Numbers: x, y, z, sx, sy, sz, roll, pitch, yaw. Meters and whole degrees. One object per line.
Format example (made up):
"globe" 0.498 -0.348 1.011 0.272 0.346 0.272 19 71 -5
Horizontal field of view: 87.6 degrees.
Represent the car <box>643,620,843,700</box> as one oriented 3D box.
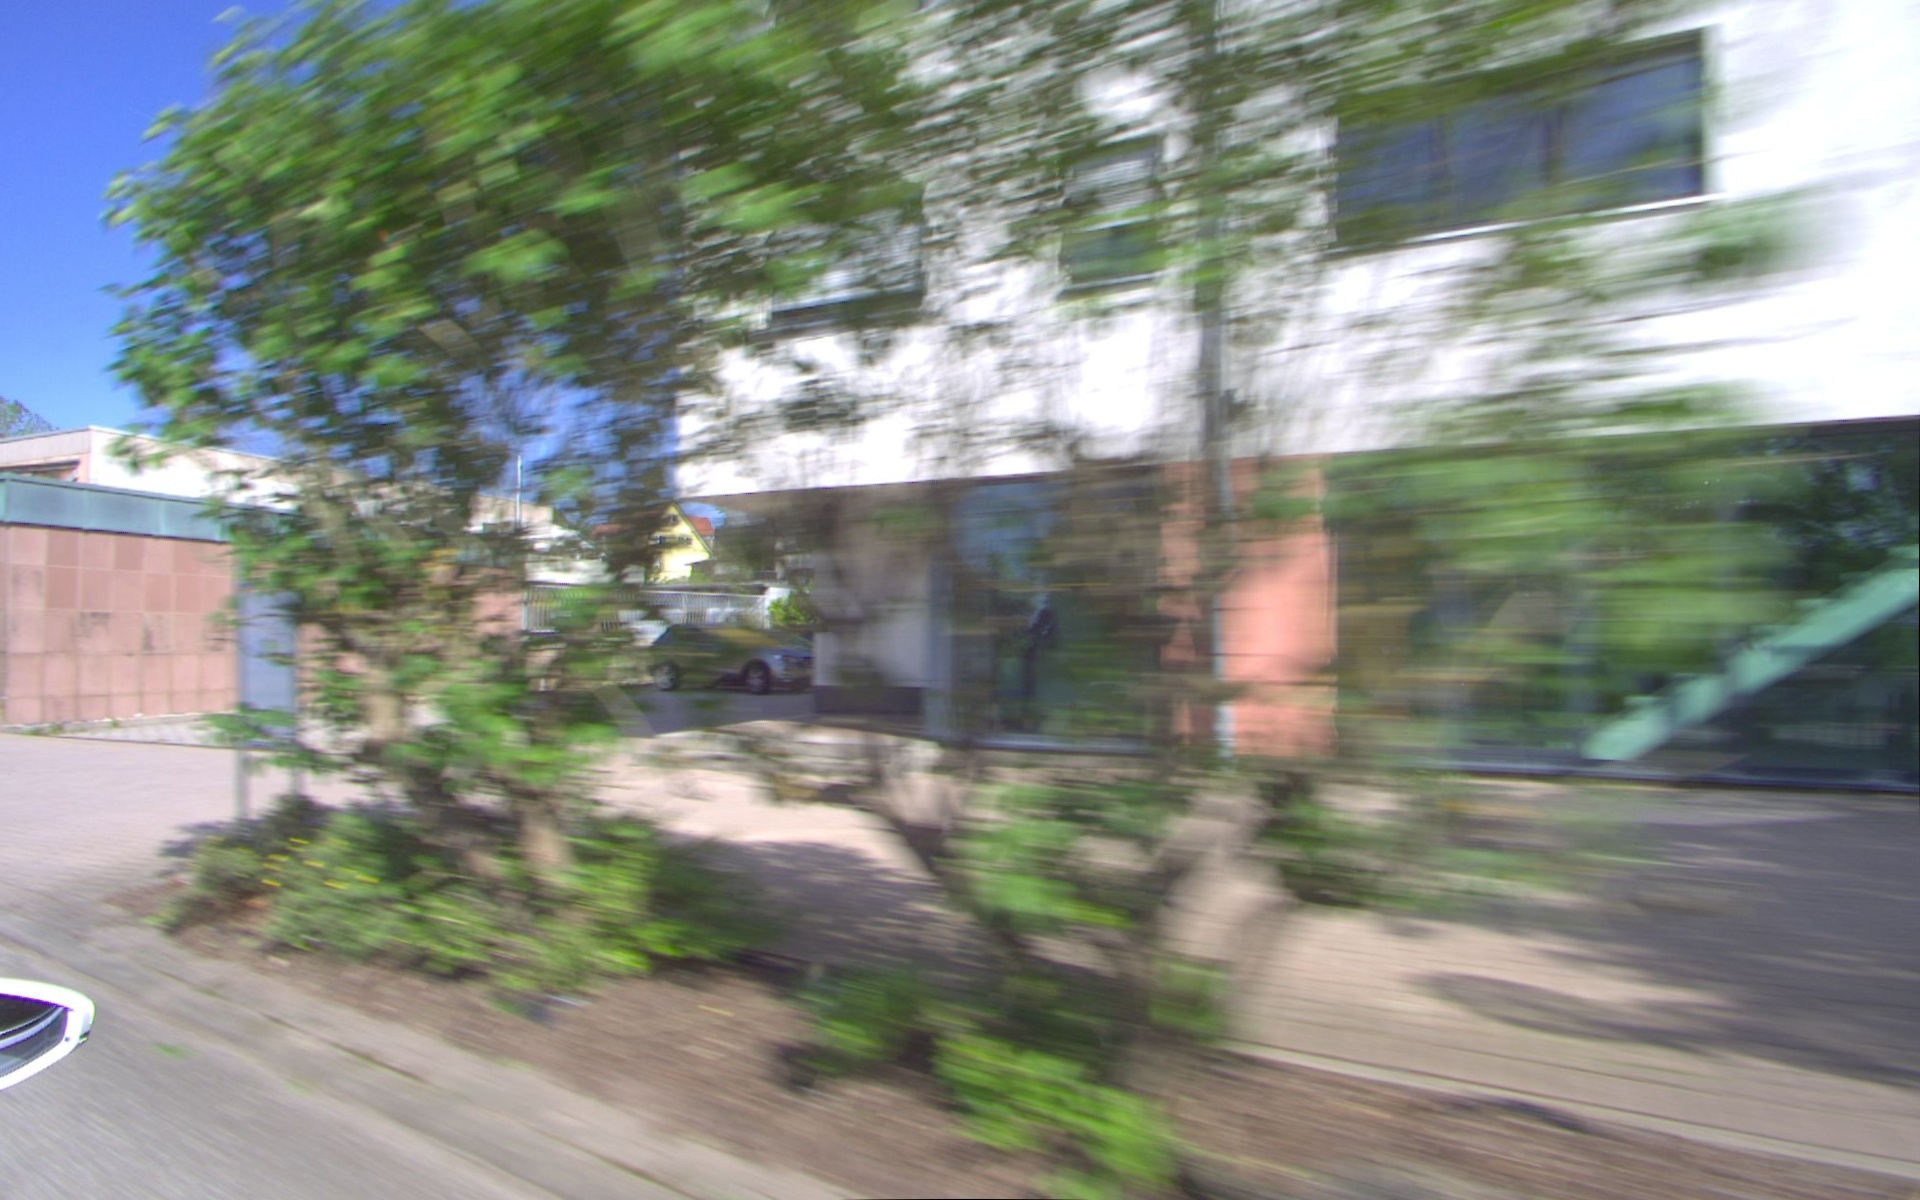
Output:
"car" -5.079 1.334 23.438 4.306 1.671 1.917 0 0 24
